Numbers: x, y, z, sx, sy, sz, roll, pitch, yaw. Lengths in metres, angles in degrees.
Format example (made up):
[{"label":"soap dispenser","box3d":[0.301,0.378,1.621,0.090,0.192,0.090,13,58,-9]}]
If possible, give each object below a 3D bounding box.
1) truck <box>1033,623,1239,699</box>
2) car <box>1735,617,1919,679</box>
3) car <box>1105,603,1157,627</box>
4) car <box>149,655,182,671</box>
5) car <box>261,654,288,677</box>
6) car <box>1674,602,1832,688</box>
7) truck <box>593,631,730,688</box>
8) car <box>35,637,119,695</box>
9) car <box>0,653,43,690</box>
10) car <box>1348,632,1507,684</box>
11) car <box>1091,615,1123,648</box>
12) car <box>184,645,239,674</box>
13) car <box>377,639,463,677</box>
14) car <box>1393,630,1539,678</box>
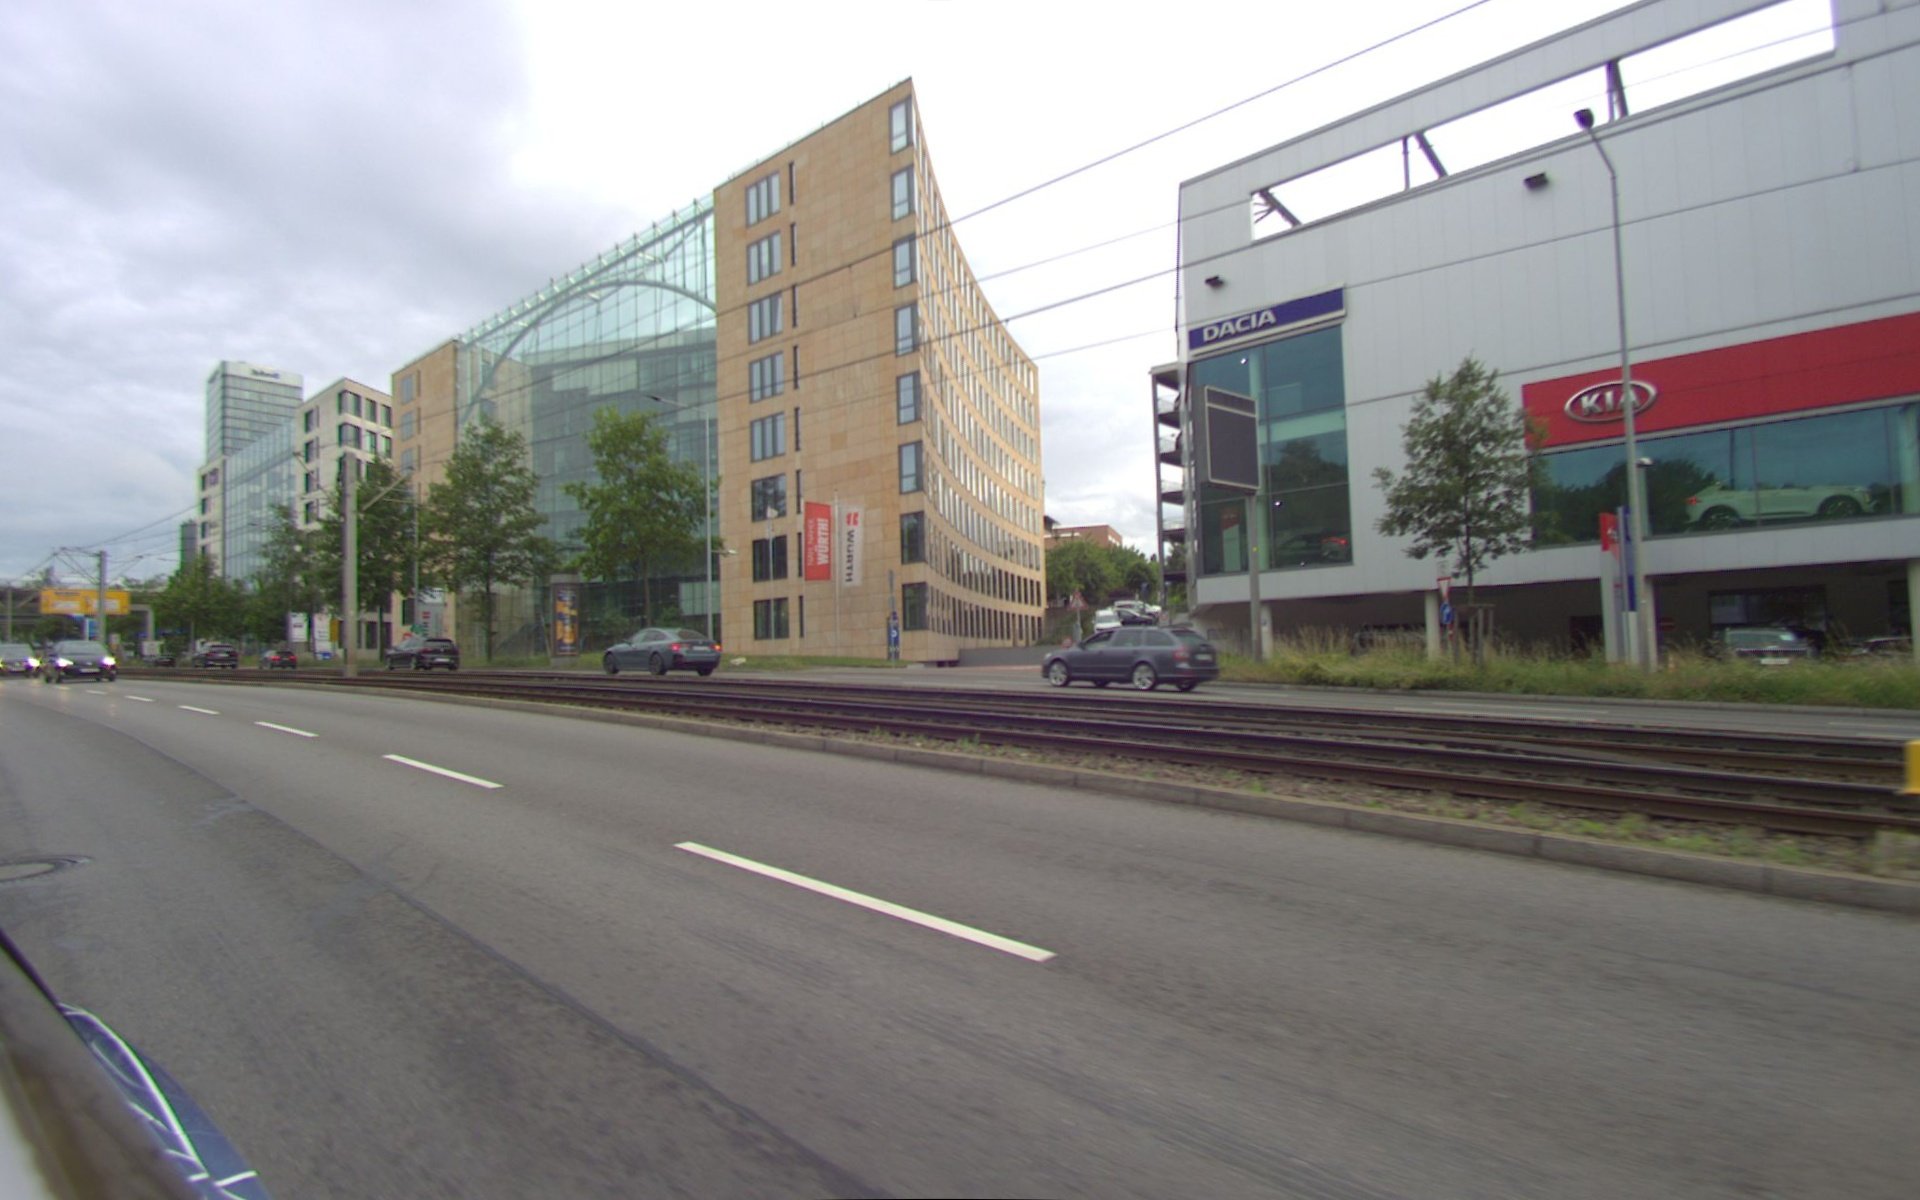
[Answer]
[{"label":"truck","box3d":[3.997,1.354,23.597,1.918,1.580,4.551,3,-3,-41]},{"label":"car","box3d":[29.404,1.592,34.228,4.936,1.925,1.973,-2,-1,40]},{"label":"car","box3d":[13.467,1.141,79.697,3.957,1.776,1.877,1,0,11]},{"label":"car","box3d":[-82.612,6.572,105.175,4.428,1.497,1.821,-4,-7,41]},{"label":"car","box3d":[-51.627,4.903,76.263,1.645,1.473,4.249,0,-1,-34]},{"label":"car","box3d":[19.989,1.100,25.776,2.008,1.947,4.929,-1,-2,25]},{"label":"truck","box3d":[-9.244,1.797,31.163,4.593,1.580,1.921,-1,-3,43]},{"label":"car","box3d":[-32.126,2.328,36.772,4.376,1.883,1.770,-1,-1,42]},{"label":"car","box3d":[-44.900,3.359,47.896,4.376,1.556,1.770,-1,-1,42]},{"label":"car","box3d":[17.247,2.111,37.493,4.939,1.738,1.972,-2,-1,42]},{"label":"car","box3d":[9.087,1.909,62.925,1.861,1.908,3.990,1,0,8]},{"label":"car","box3d":[-47.062,3.700,63.627,4.382,1.628,1.787,-1,-1,40]},{"label":"car","box3d":[-22.546,2.403,42.202,4.235,1.473,1.650,-1,-4,40]},{"label":"car","box3d":[20.454,2.170,41.034,4.936,1.805,1.973,-2,-1,40]}]
